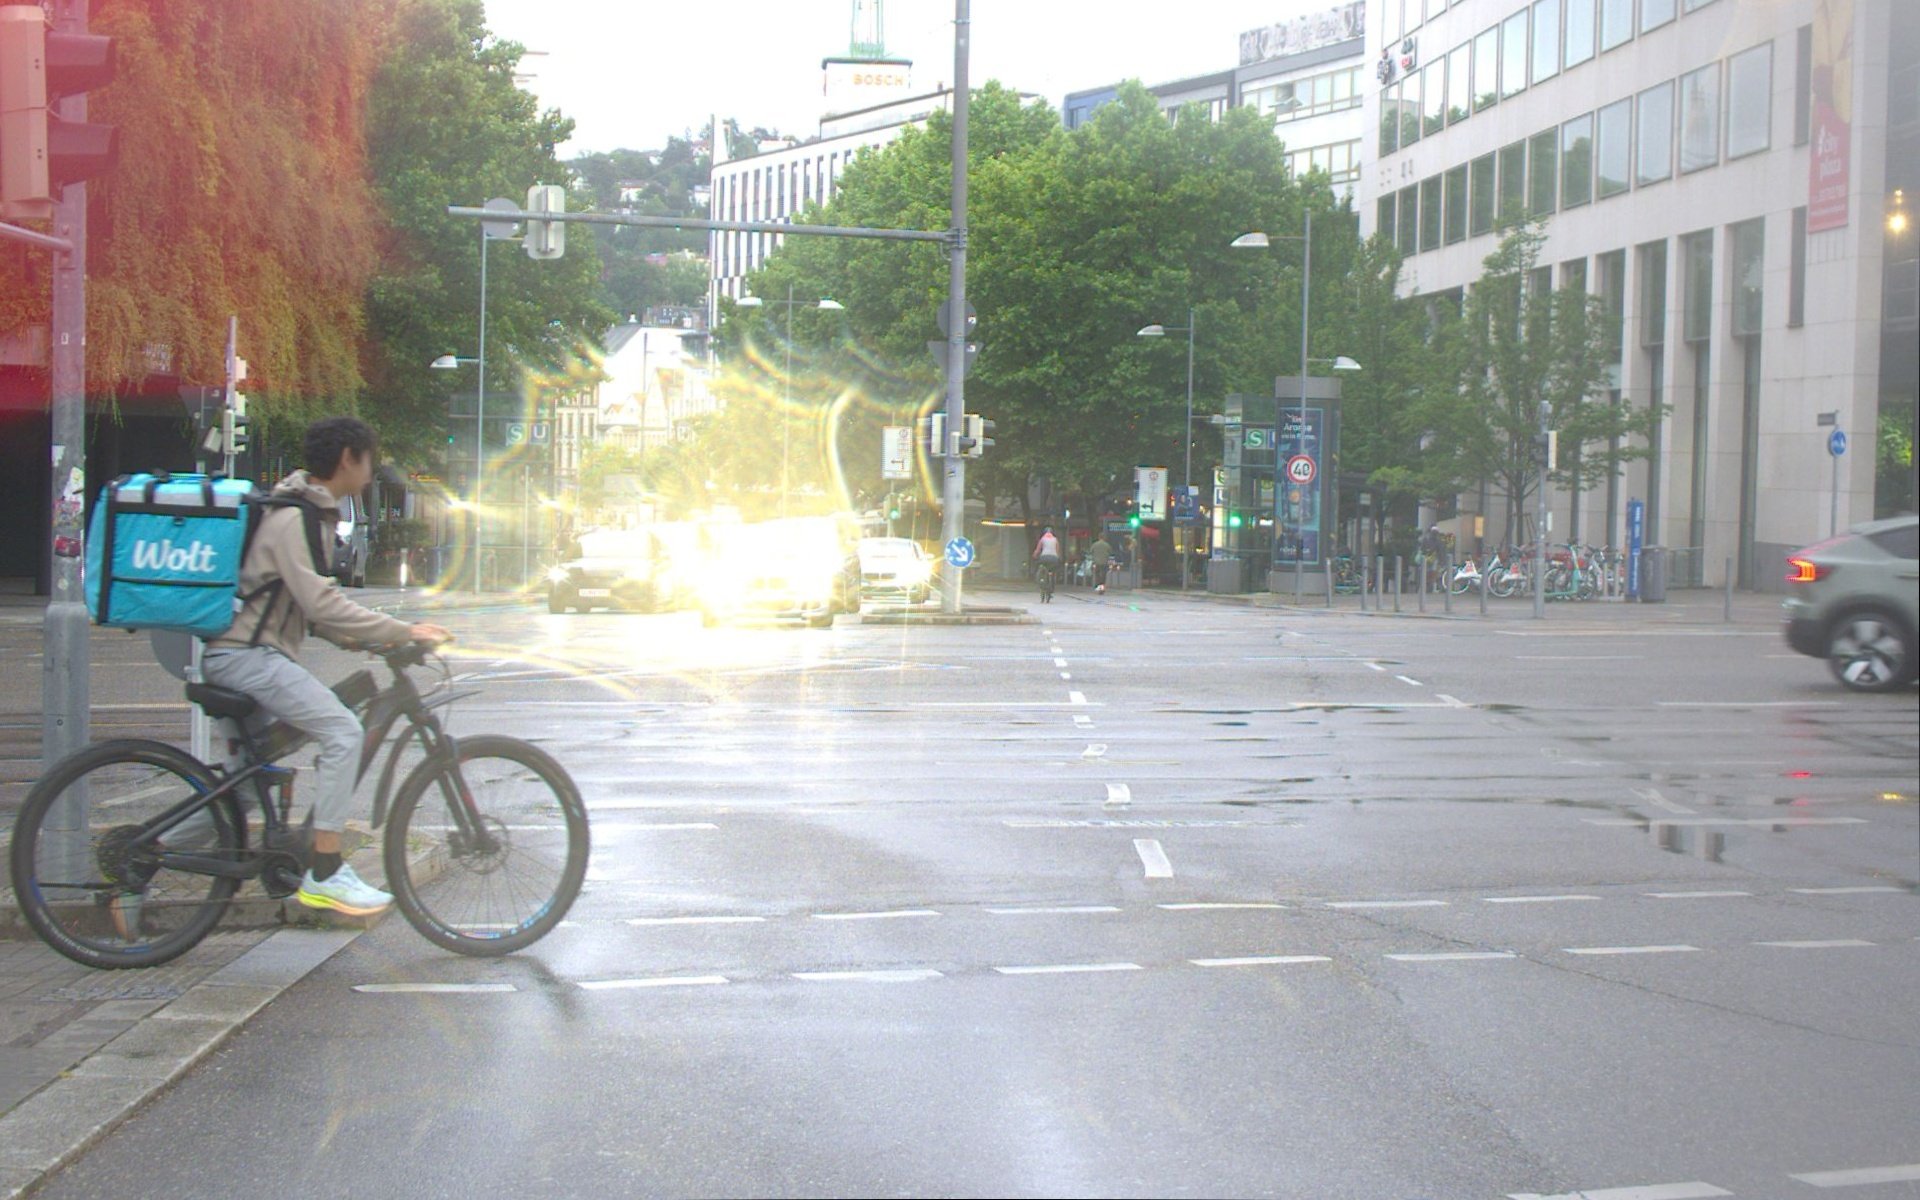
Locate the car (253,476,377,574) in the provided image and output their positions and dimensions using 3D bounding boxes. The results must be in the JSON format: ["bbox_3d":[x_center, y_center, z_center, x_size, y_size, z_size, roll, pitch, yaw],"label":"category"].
[{"bbox_3d":[-12.926,-1.520,69.165,1.993,1.888,4.466,1,1,-5],"label":"car"}]

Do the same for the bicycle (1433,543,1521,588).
[{"bbox_3d":[11.067,-0.734,73.618,1.794,0.931,0.475,1,1,3],"label":"bicycle"}]

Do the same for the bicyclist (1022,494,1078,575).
[{"bbox_3d":[2.193,-1.600,84.130,0.791,1.968,1.114,0,1,-42],"label":"bicyclist"}]

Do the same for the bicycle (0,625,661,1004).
[{"bbox_3d":[-2.135,0.651,11.211,2.145,1.099,0.848,0,1,-29],"label":"bicycle"}]

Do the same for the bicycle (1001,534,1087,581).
[{"bbox_3d":[2.052,-1.052,84.297,0.791,1.113,2.255,0,2,-41],"label":"bicycle"}]

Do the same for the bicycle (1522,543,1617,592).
[{"bbox_3d":[11.820,-0.636,66.696,1.799,0.931,0.474,2,2,41],"label":"bicycle"}]

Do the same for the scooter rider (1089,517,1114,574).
[{"bbox_3d":[4.403,-1.686,107.125,0.762,1.768,0.796,0,1,2],"label":"scooter rider"}]

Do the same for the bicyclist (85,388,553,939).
[{"bbox_3d":[-2.105,0.185,11.265,1.294,1.698,0.848,0,1,-29],"label":"bicyclist"}]

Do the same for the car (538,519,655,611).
[{"bbox_3d":[-6.170,-0.634,58.723,1.856,1.443,4.622,0,2,-5],"label":"car"}]

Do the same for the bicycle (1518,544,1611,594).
[{"bbox_3d":[11.848,-0.611,67.442,1.799,0.931,0.474,2,2,41],"label":"bicycle"}]

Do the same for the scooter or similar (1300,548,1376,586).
[{"bbox_3d":[8.872,-0.773,80.672,1.745,0.875,0.489,0,1,-19],"label":"scooter or similar"}]

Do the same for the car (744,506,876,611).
[{"bbox_3d":[-2.597,-0.745,58.575,1.963,1.649,4.365,0,3,-6],"label":"car"}]

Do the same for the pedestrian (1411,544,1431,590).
[{"bbox_3d":[11.678,-0.831,87.071,0.352,1.169,0.415,0,1,-13],"label":"pedestrian"}]

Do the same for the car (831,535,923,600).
[{"bbox_3d":[-1.984,-0.780,80.603,1.993,1.439,4.556,1,1,-3],"label":"car"}]

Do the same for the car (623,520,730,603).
[{"bbox_3d":[-5.410,-0.755,65.190,1.856,1.443,4.622,0,2,-7],"label":"car"}]

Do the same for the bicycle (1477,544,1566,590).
[{"bbox_3d":[11.719,-0.695,71.770,1.794,0.931,0.475,1,1,3],"label":"bicycle"}]

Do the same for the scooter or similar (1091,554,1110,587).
[{"bbox_3d":[4.388,-0.912,107.128,0.556,1.003,1.824,0,1,3],"label":"scooter or similar"}]

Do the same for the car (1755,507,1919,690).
[{"bbox_3d":[9.395,-0.006,29.774,4.547,1.545,1.997,1,1,25],"label":"car"}]

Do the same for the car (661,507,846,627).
[{"bbox_3d":[-2.870,-0.490,46.796,1.993,1.481,4.466,0,3,-10],"label":"car"}]

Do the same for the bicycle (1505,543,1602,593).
[{"bbox_3d":[11.229,-0.611,65.088,1.799,0.931,0.474,2,2,41],"label":"bicycle"}]

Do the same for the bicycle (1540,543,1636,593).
[{"bbox_3d":[11.994,-0.619,65.731,1.799,0.931,0.474,2,2,41],"label":"bicycle"}]
